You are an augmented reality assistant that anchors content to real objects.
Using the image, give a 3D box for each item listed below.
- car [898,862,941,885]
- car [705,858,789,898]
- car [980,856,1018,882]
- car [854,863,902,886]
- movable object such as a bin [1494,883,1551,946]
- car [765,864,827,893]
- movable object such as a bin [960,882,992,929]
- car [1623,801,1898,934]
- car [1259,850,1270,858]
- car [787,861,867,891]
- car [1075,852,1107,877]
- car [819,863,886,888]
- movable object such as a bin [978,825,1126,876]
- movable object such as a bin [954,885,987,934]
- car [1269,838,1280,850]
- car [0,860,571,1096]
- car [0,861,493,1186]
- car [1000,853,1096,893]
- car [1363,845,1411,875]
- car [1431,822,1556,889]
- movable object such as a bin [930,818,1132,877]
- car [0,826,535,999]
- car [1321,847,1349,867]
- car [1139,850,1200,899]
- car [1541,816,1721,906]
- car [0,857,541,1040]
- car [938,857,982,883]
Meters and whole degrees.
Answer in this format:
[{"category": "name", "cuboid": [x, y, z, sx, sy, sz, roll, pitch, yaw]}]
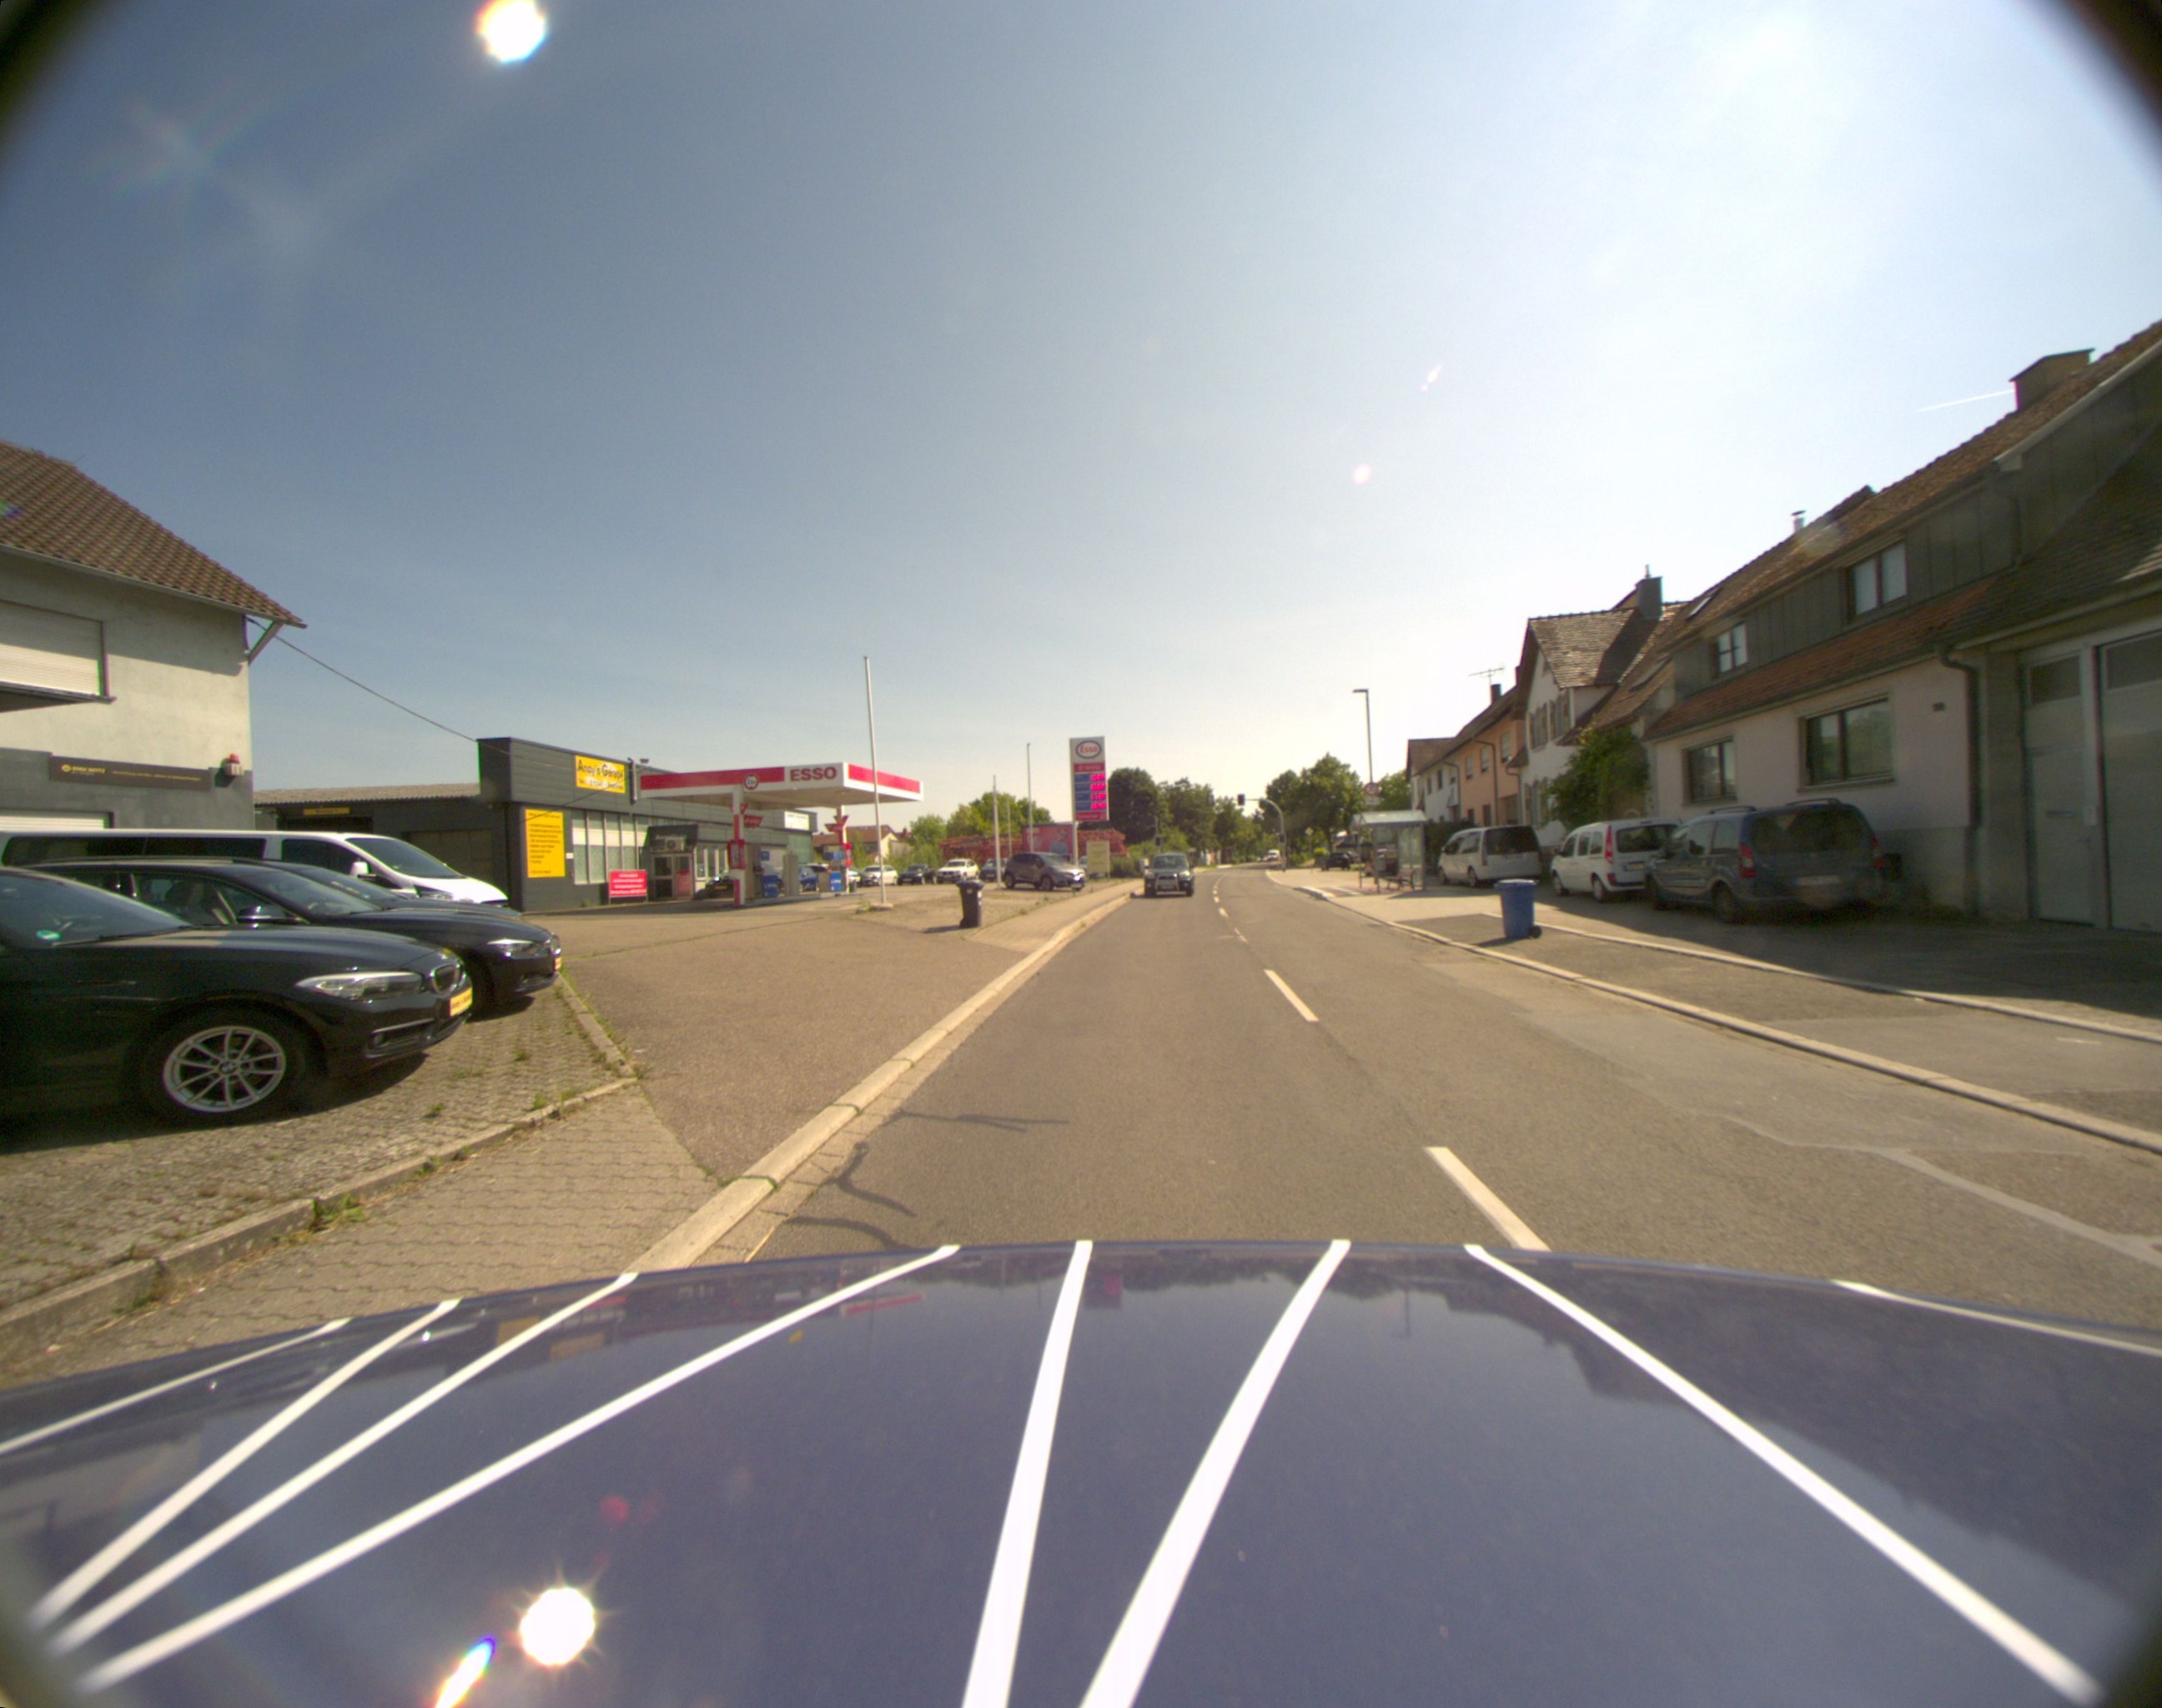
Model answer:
[{"category": "car", "cuboid": [-11.161, 1.308, 52.711, 1.845, 1.379, 4.001, -2, 1, 4]}, {"category": "car", "cuboid": [-15.978, 1.138, 36.654, 1.808, 1.730, 4.819, -3, -1, 0]}, {"category": "car", "cuboid": [-5.646, 0.982, 52.527, 1.845, 1.583, 4.106, -2, 1, 4]}, {"category": "car", "cuboid": [-14.066, 1.389, 53.006, 1.845, 1.379, 4.377, -2, 1, 4]}, {"category": "movable object such as a bin", "cuboid": [7.127, 0.962, 12.286, 0.559, 0.931, 0.514, -5, 1, 0]}, {"category": "car", "cuboid": [-15.943, 1.341, 42.765, 1.797, 1.423, 4.127, -2, 1, 1]}, {"category": "movable object such as a bin", "cuboid": [-2.198, 1.063, 15.890, 0.559, 0.934, 0.514, -2, 1, 0]}, {"category": "car", "cuboid": [11.292, 0.170, 13.100, 1.839, 1.782, 4.348, -5, 0, 18]}, {"category": "car", "cuboid": [36.442, -0.006, 151.085, 1.843, 1.583, 4.110, -2, 1, 16]}, {"category": "car", "cuboid": [-15.447, 1.343, 46.263, 4.149, 1.624, 1.812, -2, 1, 6]}, {"category": "car", "cuboid": [0.744, 0.722, 53.269, 1.808, 1.676, 4.371, -1, -1, 6]}, {"category": "car", "cuboid": [-14.737, 1.381, 49.122, 3.685, 1.465, 1.812, -2, 1, 6]}, {"category": "movable object such as a bin", "cuboid": [-2.653, -0.255, 70.863, 13.277, 4.141, 2.865, -2, 0, 9]}, {"category": "movable object such as a bin", "cuboid": [-2.201, 1.098, 15.194, 0.559, 0.931, 0.514, -2, 1, 0]}, {"category": "car", "cuboid": [42.512, -2.145, 166.759, 1.936, 2.488, 5.844, -2, 1, 16]}, {"category": "car", "cuboid": [-7.037, 0.896, 6.467, 4.245, 1.556, 1.980, -1, -2, -27]}, {"category": "car", "cuboid": [-5.805, 0.835, 4.056, 3.878, 1.438, 1.747, -2, 0, -26]}, {"category": "car", "cuboid": [-1.448, 0.731, 31.950, 1.778, 1.546, 4.170, -1, 1, -41]}, {"category": "car", "cuboid": [16.814, 0.337, 41.928, 1.717, 1.444, 3.918, -4, -1, 11]}, {"category": "car", "cuboid": [14.087, -0.004, 26.378, 2.130, 1.975, 5.268, -3, 1, 9]}, {"category": "movable object such as a bin", "cuboid": [-4.065, -0.477, 61.926, 16.081, 3.995, 2.775, -2, 0, 9]}, {"category": "car", "cuboid": [-11.490, 0.715, 11.012, 5.289, 2.002, 2.229, -2, 0, -16]}, {"category": "car", "cuboid": [19.991, 0.235, 59.927, 1.717, 1.399, 4.401, -1, 2, 13]}, {"category": "car", "cuboid": [3.524, 0.780, 29.679, 1.847, 1.686, 4.402, -3, -1, 12]}, {"category": "car", "cuboid": [12.602, 0.111, 17.787, 1.971, 1.764, 4.281, -3, 1, 15]}, {"category": "car", "cuboid": [-8.909, 0.892, 8.514, 4.322, 1.541, 1.980, -2, 0, -25]}, {"category": "car", "cuboid": [-8.346, 1.107, 52.815, 2.003, 1.583, 4.339, -2, 1, 4]}]
